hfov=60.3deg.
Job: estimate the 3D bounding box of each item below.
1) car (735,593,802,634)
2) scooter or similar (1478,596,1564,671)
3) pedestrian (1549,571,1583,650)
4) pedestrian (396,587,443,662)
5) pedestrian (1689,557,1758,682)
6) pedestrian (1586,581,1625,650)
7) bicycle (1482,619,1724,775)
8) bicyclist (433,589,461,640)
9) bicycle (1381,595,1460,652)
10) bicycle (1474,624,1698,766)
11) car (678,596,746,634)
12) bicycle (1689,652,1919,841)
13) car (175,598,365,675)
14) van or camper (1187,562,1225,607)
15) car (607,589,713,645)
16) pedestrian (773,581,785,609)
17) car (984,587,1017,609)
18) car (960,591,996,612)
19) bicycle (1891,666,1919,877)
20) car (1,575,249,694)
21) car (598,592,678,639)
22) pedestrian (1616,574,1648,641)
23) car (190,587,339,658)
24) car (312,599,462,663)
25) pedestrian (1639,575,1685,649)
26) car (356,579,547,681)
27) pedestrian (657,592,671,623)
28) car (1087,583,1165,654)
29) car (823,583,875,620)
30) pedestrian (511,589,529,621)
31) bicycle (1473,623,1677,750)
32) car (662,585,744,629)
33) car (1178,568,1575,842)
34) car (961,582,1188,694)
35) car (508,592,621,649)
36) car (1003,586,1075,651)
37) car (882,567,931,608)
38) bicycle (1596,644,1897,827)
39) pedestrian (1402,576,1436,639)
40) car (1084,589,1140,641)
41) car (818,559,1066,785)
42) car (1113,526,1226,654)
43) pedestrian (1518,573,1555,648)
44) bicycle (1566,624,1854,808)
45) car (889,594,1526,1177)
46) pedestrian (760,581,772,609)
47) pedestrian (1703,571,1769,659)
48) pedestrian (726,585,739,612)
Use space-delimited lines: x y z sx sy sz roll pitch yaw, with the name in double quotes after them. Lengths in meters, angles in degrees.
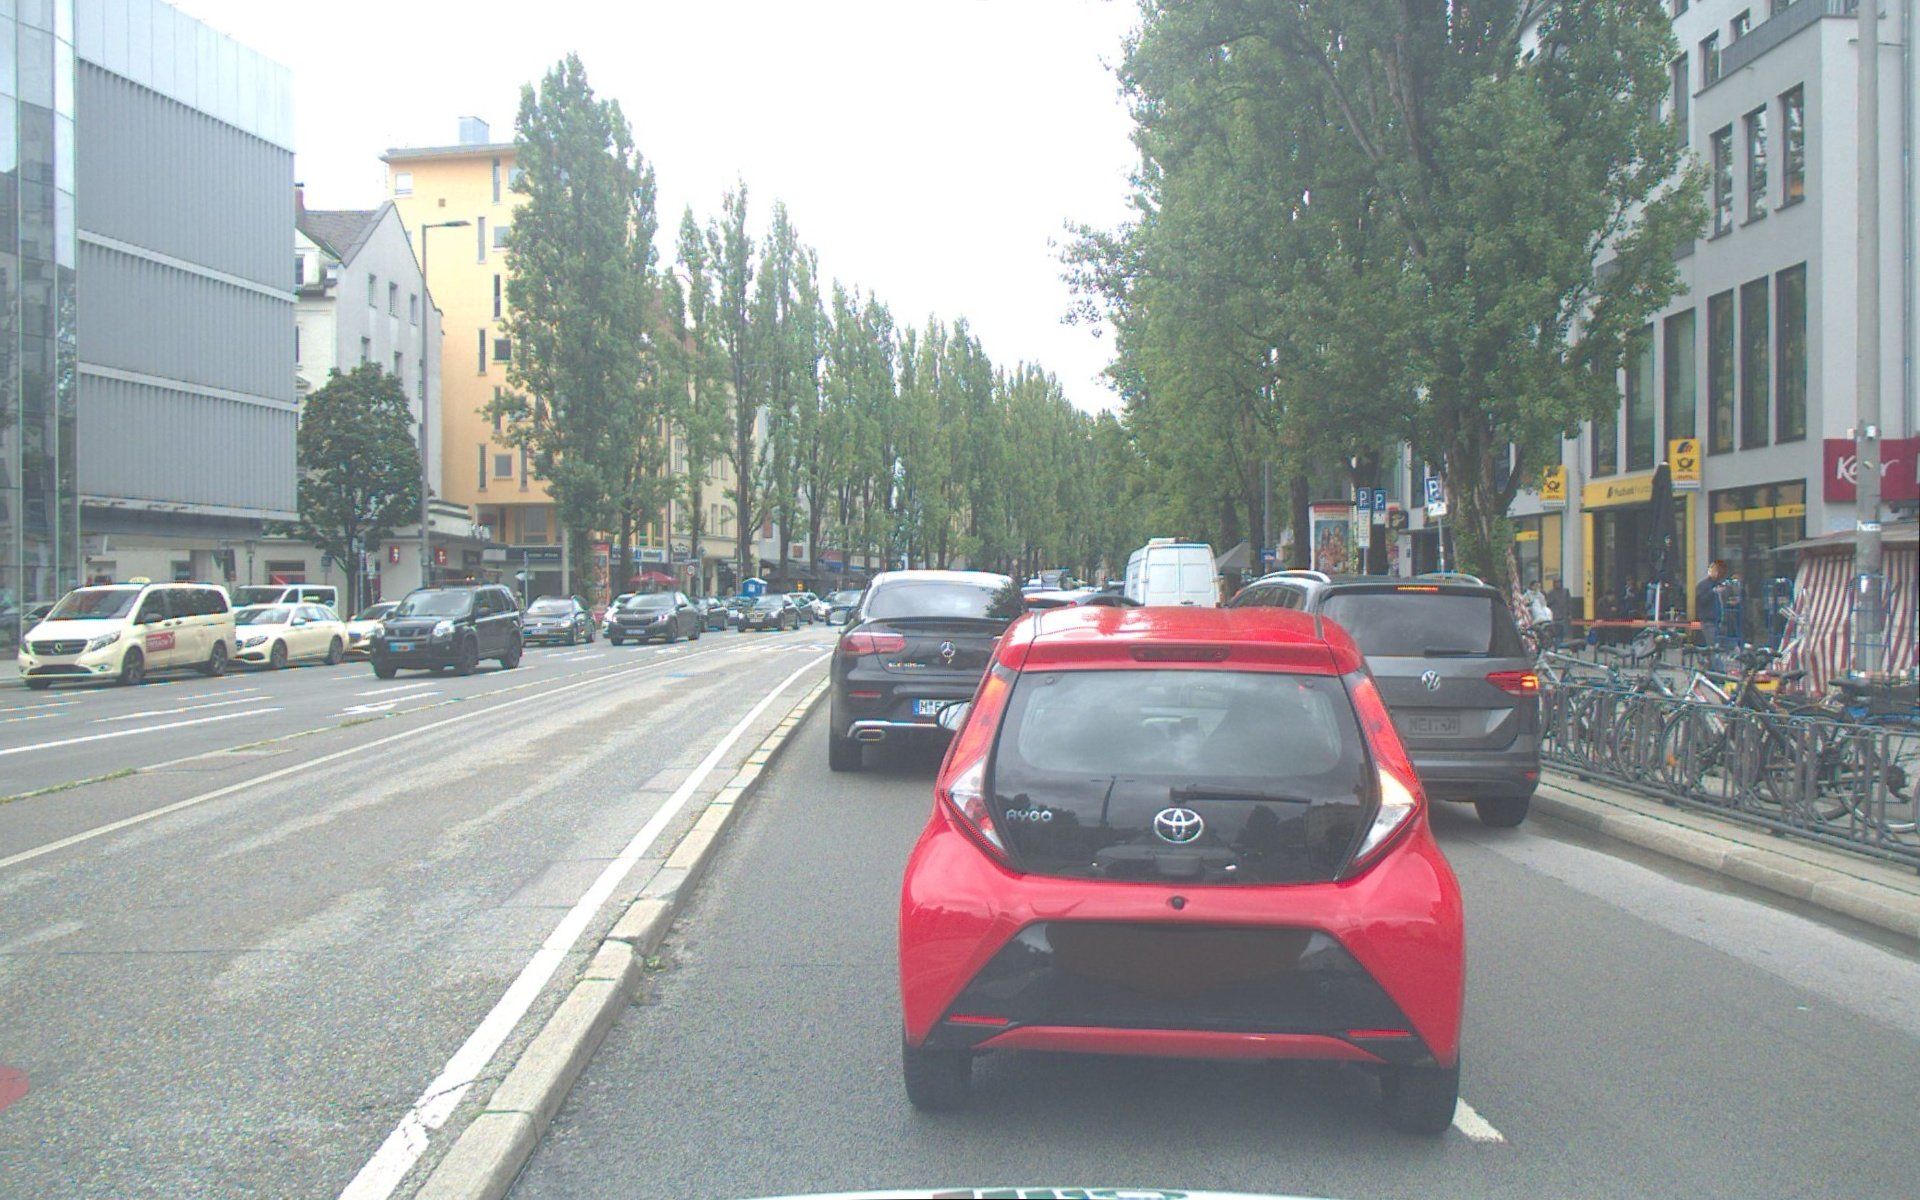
-7.508 0.516 65.377 1.797 1.513 4.737 -1 1 4 "car"
9.529 0.560 28.097 1.443 1.228 0.398 -1 0 -20 "scooter or similar"
13.459 0.230 36.745 0.567 1.731 0.597 -1 0 6 "pedestrian"
-13.832 0.614 42.334 0.771 1.900 0.845 -1 0 28 "pedestrian"
11.382 0.282 24.673 0.776 1.827 0.572 1 -1 4 "pedestrian"
14.366 0.349 36.810 0.636 1.502 0.757 1 -1 36 "pedestrian"
5.395 0.782 13.937 1.767 1.124 0.544 4 2 37 "bicycle"
-16.492 0.459 53.188 0.491 1.620 0.835 -1 0 11 "bicyclist"
9.865 0.494 35.475 1.593 1.180 0.706 0 0 11 "bicycle"
5.484 0.807 14.560 1.767 1.072 0.366 4 2 37 "bicycle"
-10.074 0.601 67.440 1.692 1.433 4.690 -1 1 5 "car"
5.631 0.920 10.497 1.772 1.028 0.383 5 2 44 "bicycle"
-15.616 0.782 37.783 1.936 1.579 5.088 -1 0 4 "car"
17.901 -1.128 120.208 2.407 3.166 4.720 -1 0 12 "van or camper"
-8.861 0.472 49.289 1.952 1.534 5.024 -1 1 3 "car"
-12.652 -0.349 115.652 0.624 1.894 0.648 -1 0 11 "pedestrian"
3.059 -0.170 124.517 1.869 1.631 4.359 -1 0 10 "car"
1.280 0.112 115.802 1.761 1.419 4.695 -1 0 11 "car"
5.437 0.905 7.769 1.772 1.028 0.383 5 2 44 "bicycle"
-15.931 0.595 31.943 1.952 2.049 5.322 -1 0 1 "car"
-11.569 0.527 59.753 1.952 1.628 4.290 -1 0 1 "car"
17.042 0.195 41.944 0.677 1.678 0.797 -1 0 27 "pedestrian"
-21.429 0.638 51.217 1.951 2.049 5.116 -1 0 7 "car"
-14.932 0.764 43.395 1.818 1.495 4.985 -3 0 4 "car"
15.540 0.252 36.628 0.677 1.612 0.772 -1 0 -2 "pedestrian"
-9.701 0.515 31.967 1.951 1.808 4.602 -1 0 4 "car"
-16.866 0.412 94.273 0.527 1.777 0.756 0 0 11 "pedestrian"
4.558 0.480 45.887 1.889 1.836 4.781 1 0 3 "car"
-5.314 0.047 79.638 1.952 1.649 4.415 -2 0 3 "car"
-20.647 0.226 77.603 0.620 1.460 0.778 -1 0 -2 "pedestrian"
6.057 0.823 16.343 1.767 1.072 0.544 4 2 37 "bicycle"
-11.217 0.318 72.424 1.721 1.847 3.999 1 0 23 "car"
2.789 0.624 12.044 1.725 1.642 4.182 0 0 -2 "car"
1.708 0.530 23.836 1.521 1.486 3.414 1 0 41 "car"
-11.904 0.587 50.133 1.918 1.573 4.950 -1 0 3 "car"
2.072 0.478 44.259 1.723 1.648 3.747 1 0 0 "car"
-3.578 -0.870 111.900 2.123 2.651 6.069 -1 0 10 "car"
5.327 0.882 11.286 1.770 1.028 0.384 5 2 41 "bicycle"
13.061 0.208 47.062 0.707 1.754 0.737 -1 0 36 "pedestrian"
5.239 0.478 57.307 1.691 1.716 4.409 0 0 2 "car"
-0.168 0.526 14.707 1.842 1.670 4.582 -1 0 -1 "car"
4.861 -0.203 39.169 1.953 2.789 5.554 1 0 0 "car"
12.710 0.226 36.489 0.628 1.611 0.635 -1 0 6 "pedestrian"
5.394 0.797 11.954 1.767 1.124 0.544 4 2 37 "bicycle"
0.805 0.744 6.117 1.630 1.471 3.598 1 0 5 "car"
-13.561 -0.360 115.663 0.624 1.894 0.648 -1 0 11 "pedestrian"
15.004 0.284 32.001 0.783 1.665 1.023 -1 0 -2 "pedestrian"
-14.616 -0.117 106.122 0.624 1.729 0.648 -1 0 11 "pedestrian"
